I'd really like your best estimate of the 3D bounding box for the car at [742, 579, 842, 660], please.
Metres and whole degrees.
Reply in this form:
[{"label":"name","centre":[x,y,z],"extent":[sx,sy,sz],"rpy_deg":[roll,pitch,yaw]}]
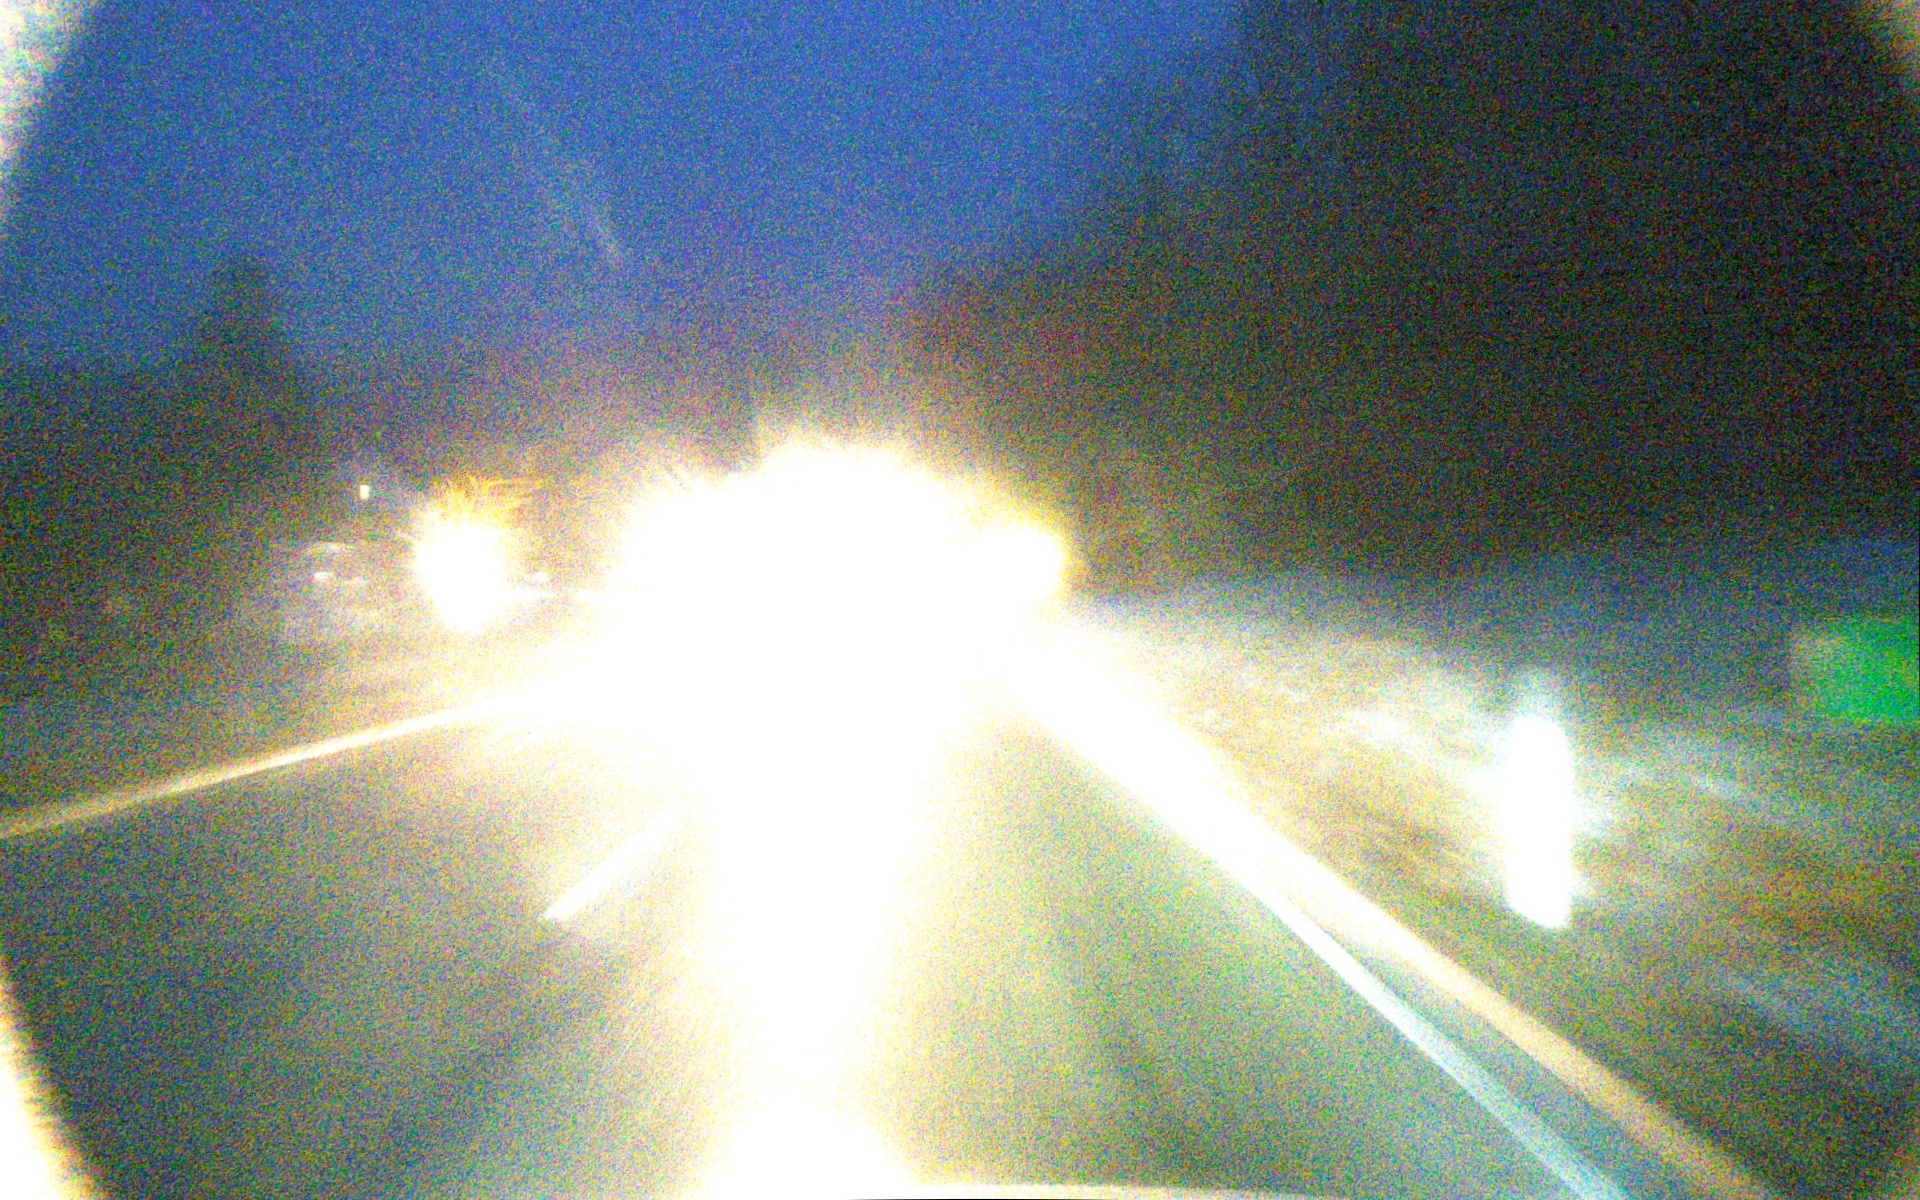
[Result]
[{"label":"car","centre":[-5.220,0.623,52.421],"extent":[2.697,2.308,6.258],"rpy_deg":[-2,-1,-3]}]
